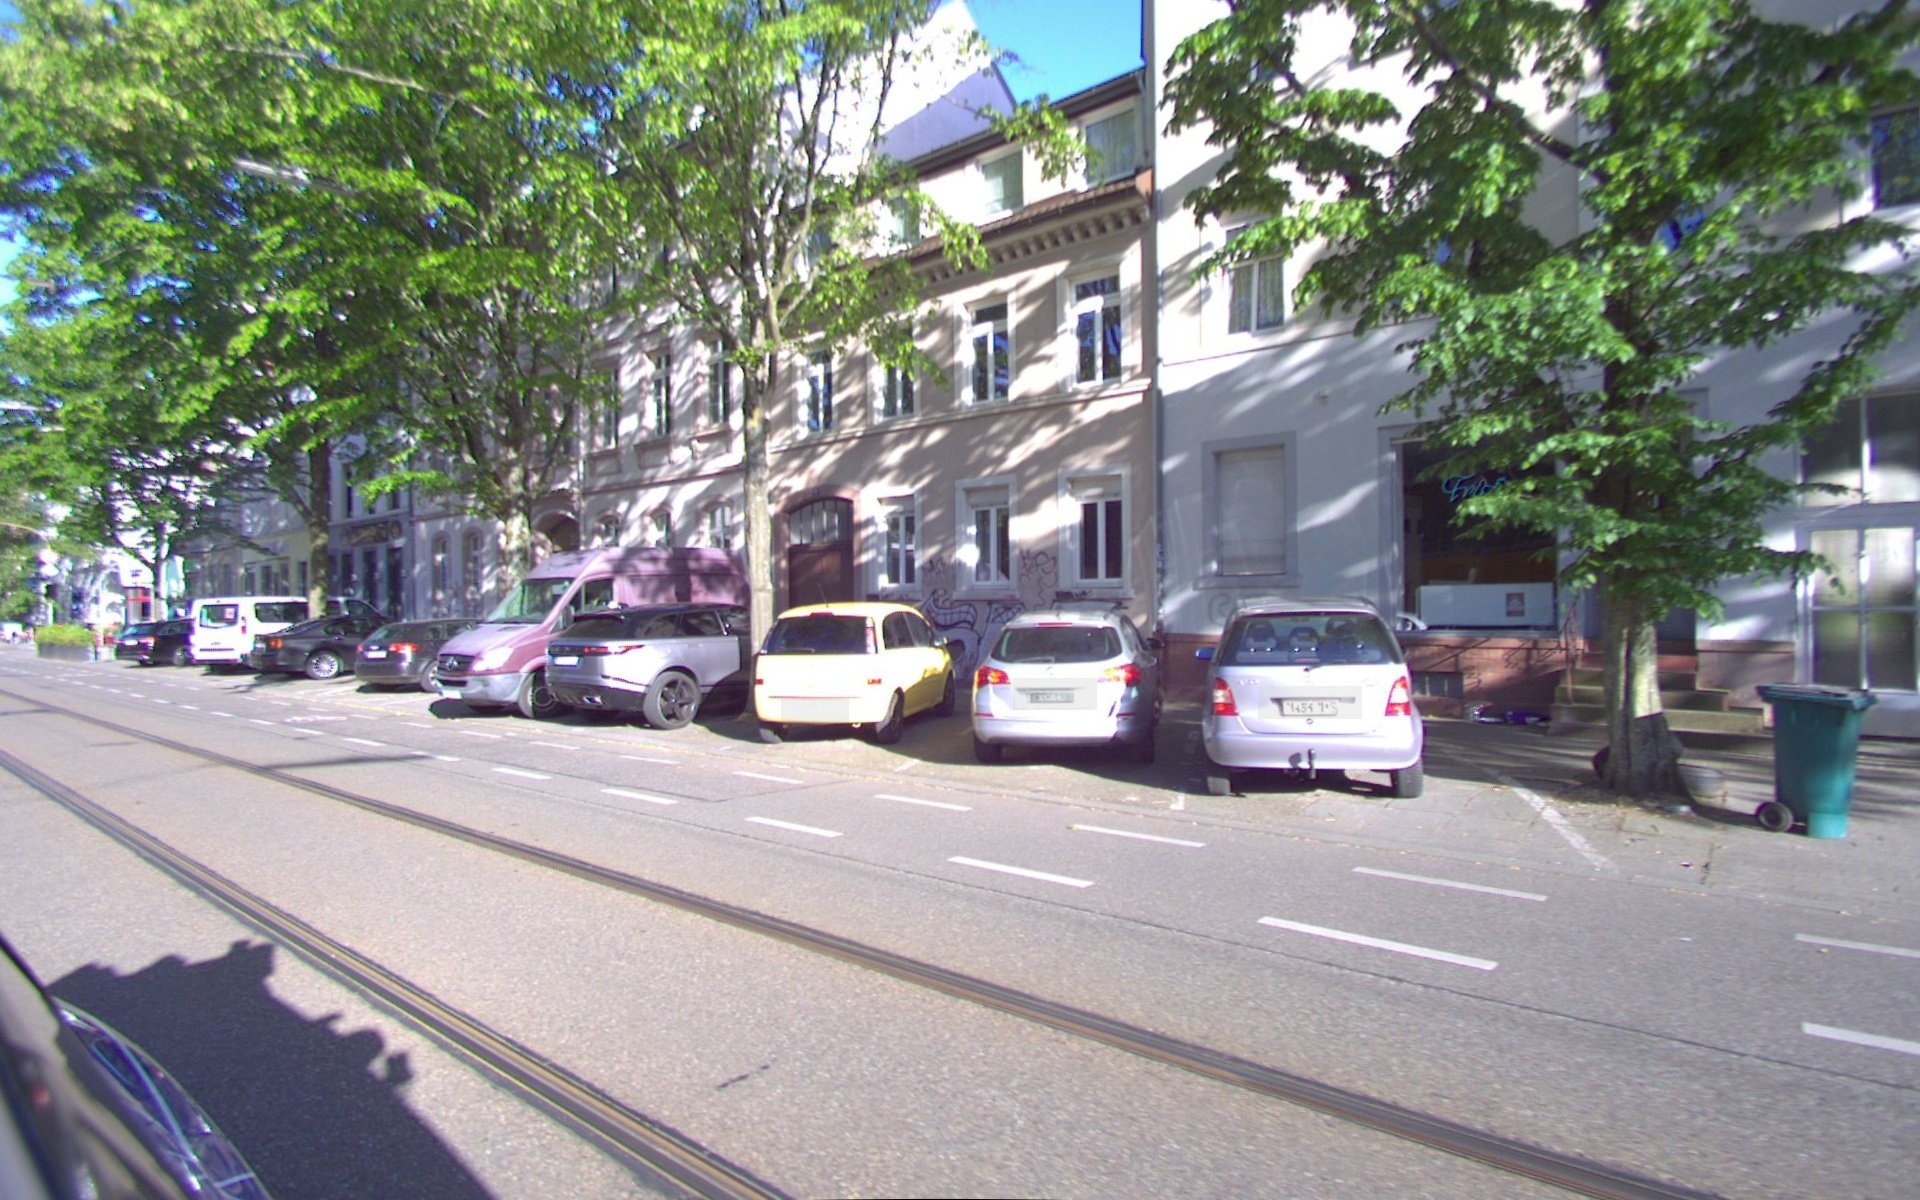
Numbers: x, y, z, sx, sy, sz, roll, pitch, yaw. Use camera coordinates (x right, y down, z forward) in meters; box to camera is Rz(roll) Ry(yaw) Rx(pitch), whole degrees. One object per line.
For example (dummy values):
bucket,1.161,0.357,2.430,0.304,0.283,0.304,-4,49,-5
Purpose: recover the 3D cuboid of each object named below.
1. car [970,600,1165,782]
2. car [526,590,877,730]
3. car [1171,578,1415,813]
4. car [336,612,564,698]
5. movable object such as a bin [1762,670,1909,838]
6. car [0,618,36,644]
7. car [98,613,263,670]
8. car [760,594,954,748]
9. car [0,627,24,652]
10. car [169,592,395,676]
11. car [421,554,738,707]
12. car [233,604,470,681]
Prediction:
car,1.340,0.841,10.962,1.685,1.564,4.155,0,-2,12
car,-3.644,0.759,15.114,2.160,1.737,4.783,-1,-1,38
car,3.116,0.695,9.430,1.690,1.689,3.974,-1,0,20
car,-10.356,1.047,20.882,1.661,1.464,4.066,-1,1,24
movable object such as a bin,5.592,0.949,6.501,0.669,0.952,0.615,-2,-1,39
car,-57.982,1.904,61.025,3.290,1.464,1.498,-1,1,-44
car,-24.528,1.260,32.040,1.762,1.570,3.988,-1,1,10
car,-1.155,0.765,12.765,1.371,1.564,3.360,0,2,14
car,-61.706,2.539,64.178,1.496,1.464,3.294,0,1,41
car,-17.982,0.874,27.185,2.057,2.029,4.914,-1,-1,16
car,-6.069,0.433,16.574,2.160,2.134,4.395,-1,-1,38
car,-14.965,0.983,25.156,1.950,1.588,4.654,-2,0,35
